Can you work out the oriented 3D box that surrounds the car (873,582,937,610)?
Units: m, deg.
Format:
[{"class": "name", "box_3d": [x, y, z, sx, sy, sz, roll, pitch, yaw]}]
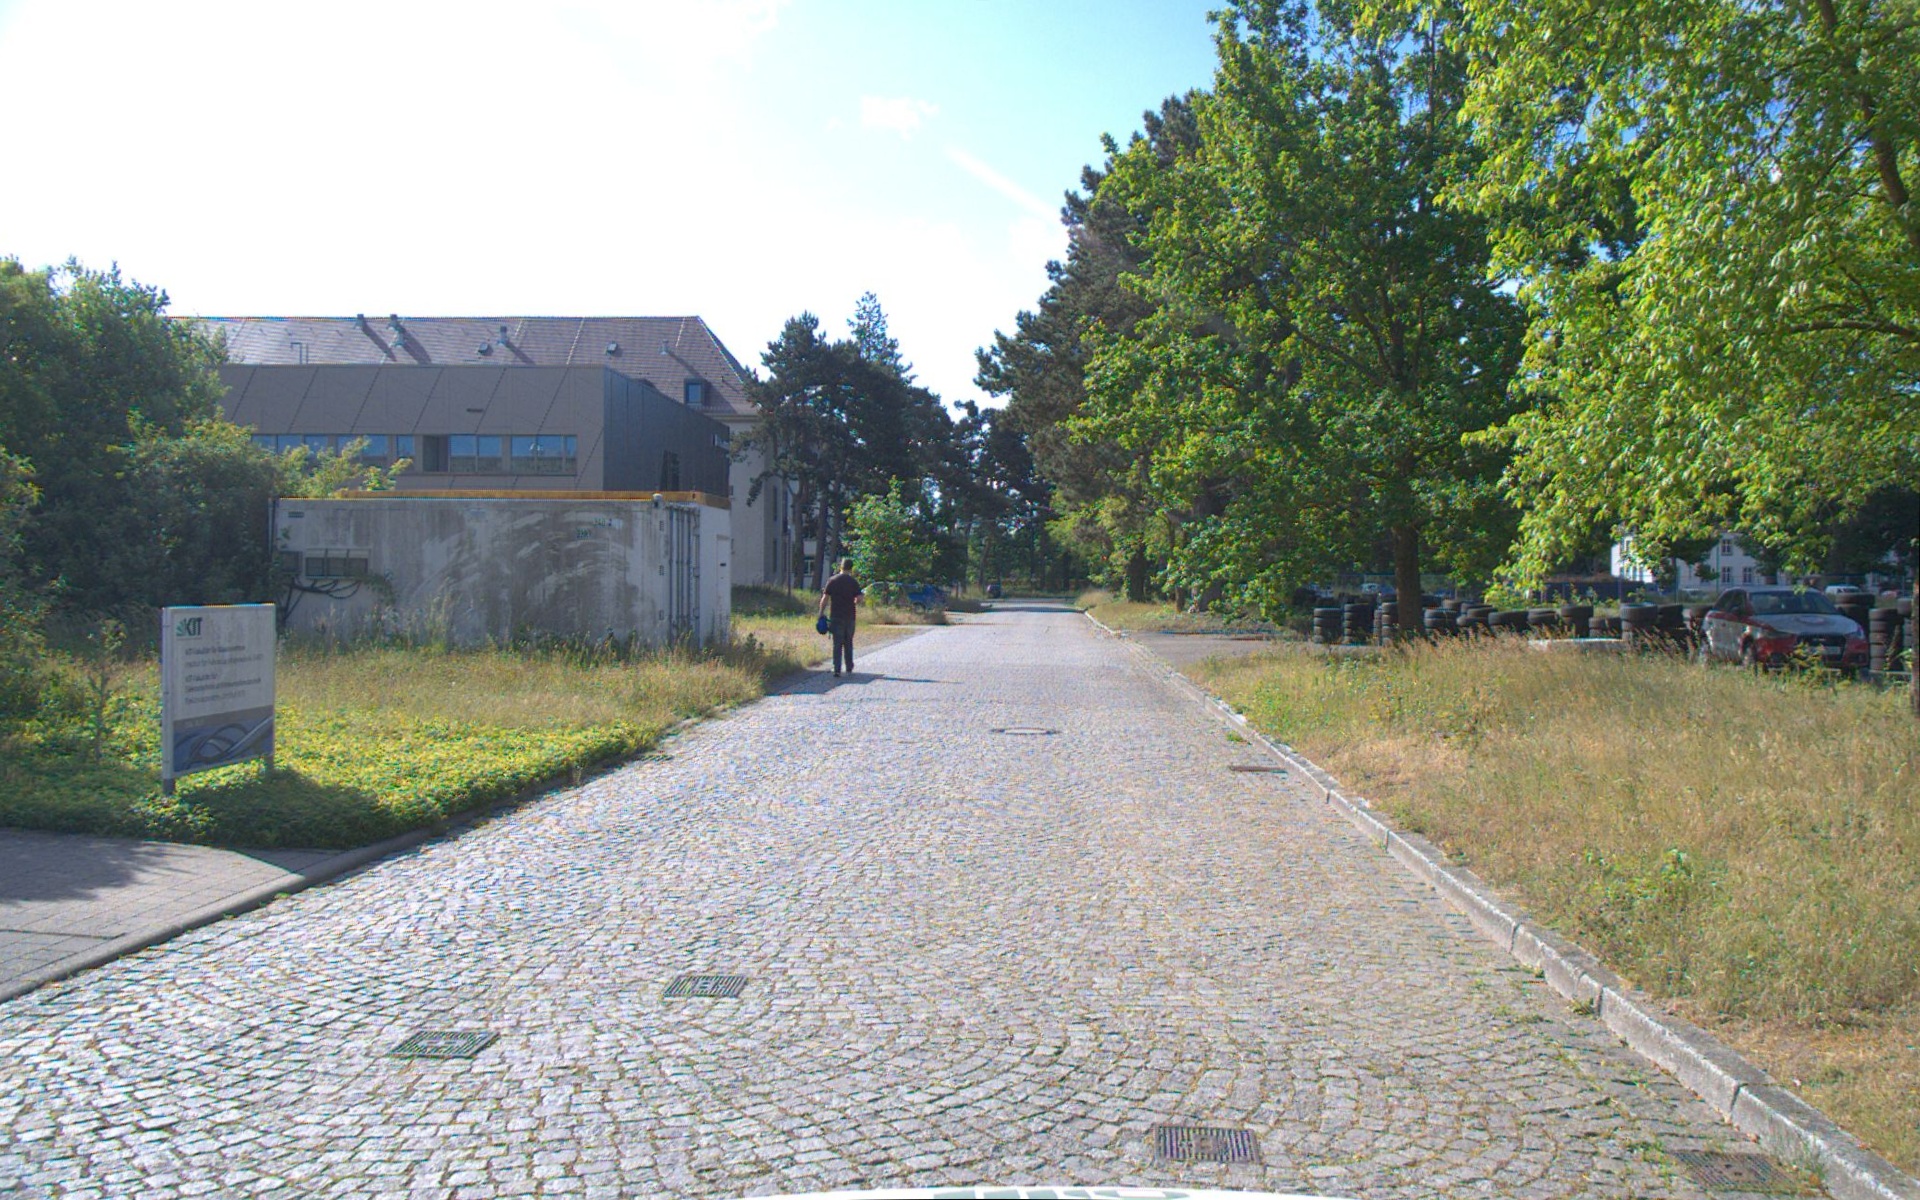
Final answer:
[{"class": "car", "box_3d": [-2.554, -0.177, 76.453, 2.846, 1.281, 1.286, 0, 0, -6]}]

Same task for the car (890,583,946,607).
[{"class": "car", "box_3d": [-2.197, -0.270, 85.874, 2.799, 1.227, 1.372, 0, 1, -6]}]

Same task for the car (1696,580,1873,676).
[{"class": "car", "box_3d": [13.218, 0.409, 26.718, 1.508, 1.431, 3.580, 1, 0, 8]}]

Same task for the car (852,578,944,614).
[{"class": "car", "box_3d": [-2.569, -0.164, 69.159, 3.754, 1.466, 1.583, 0, 1, 0]}]

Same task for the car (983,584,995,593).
[{"class": "car", "box_3d": [3.386, -1.337, 191.724, 1.341, 1.118, 2.863, 0, 0, 0]}]

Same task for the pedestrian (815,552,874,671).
[{"class": "pedestrian", "box_3d": [-1.804, 0.181, 26.057, 0.778, 1.812, 1.069, 2, 0, 1]}]
